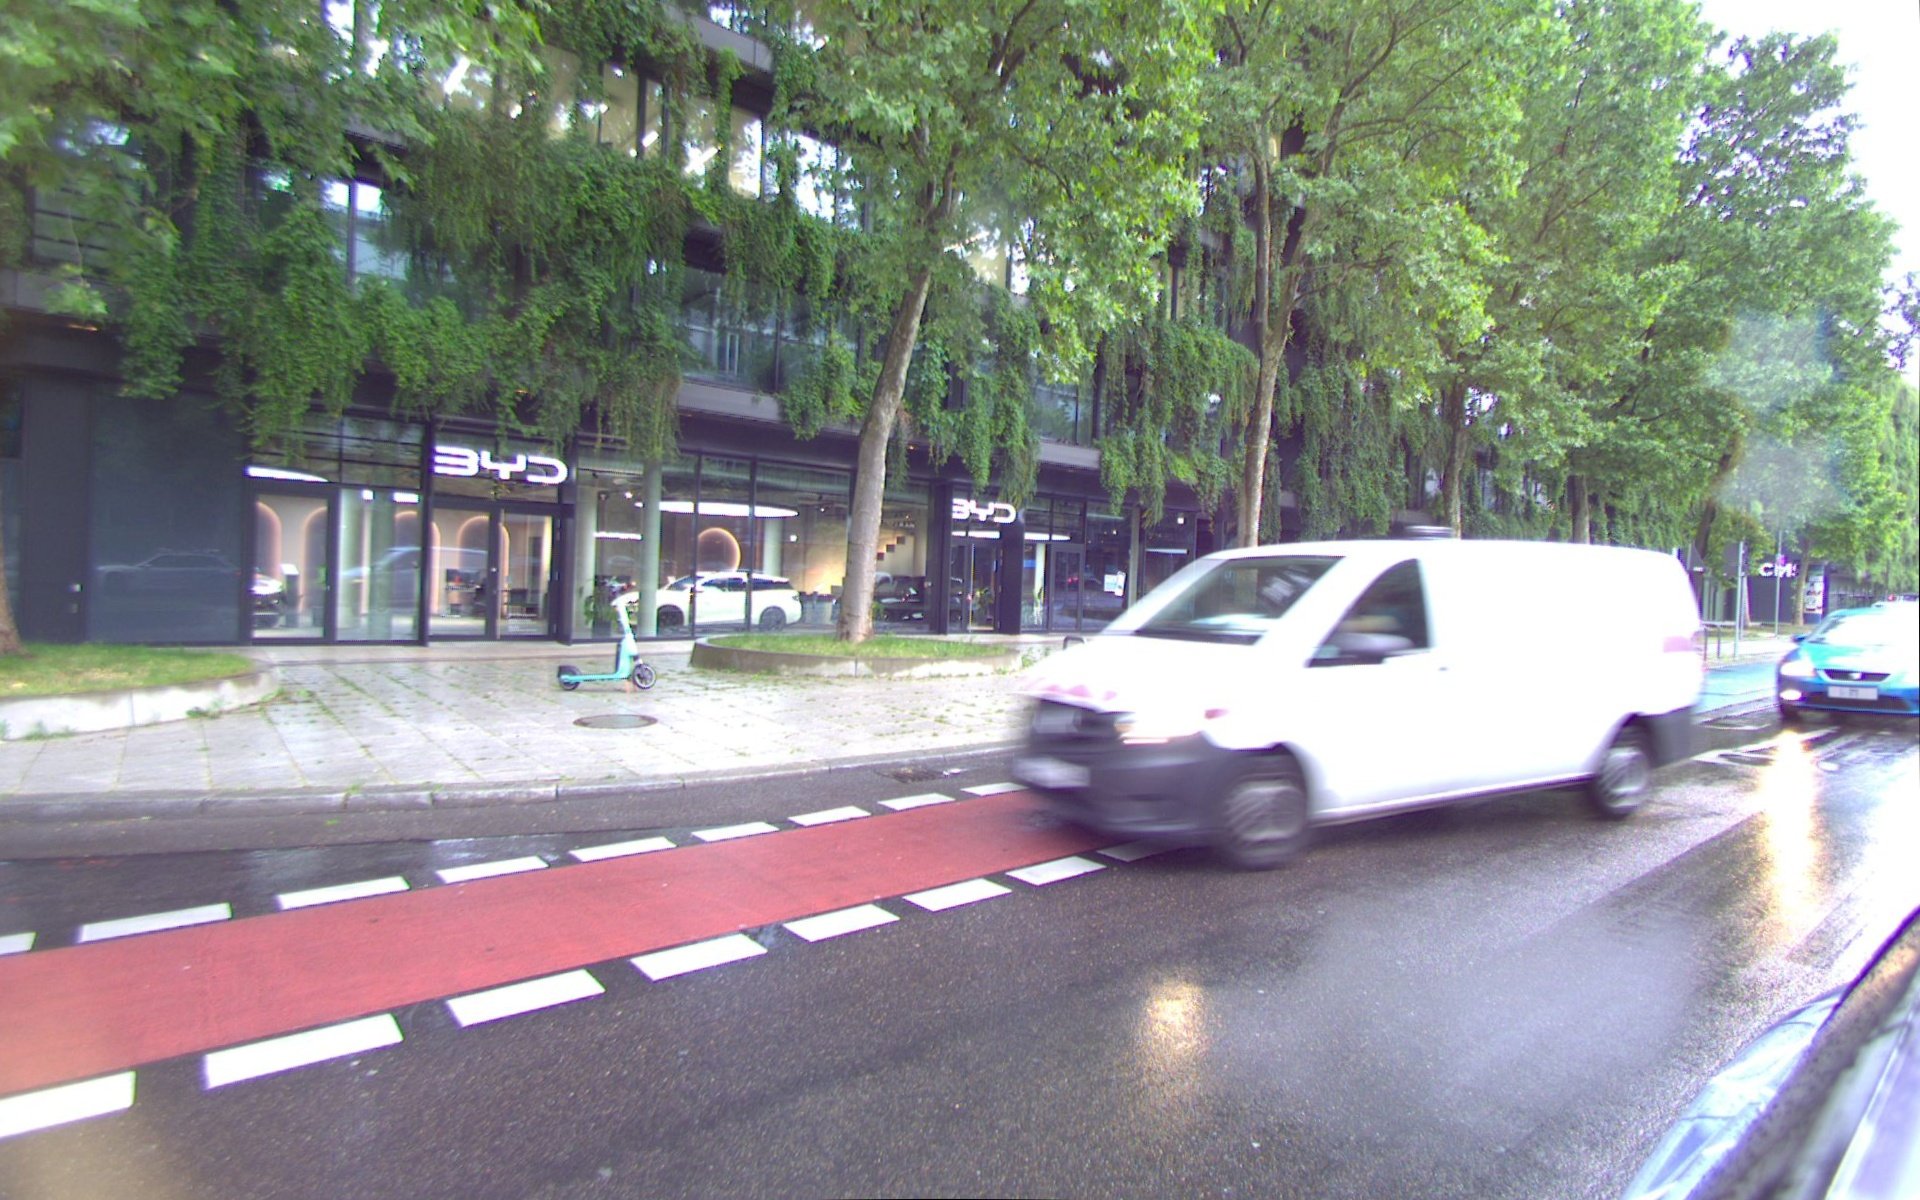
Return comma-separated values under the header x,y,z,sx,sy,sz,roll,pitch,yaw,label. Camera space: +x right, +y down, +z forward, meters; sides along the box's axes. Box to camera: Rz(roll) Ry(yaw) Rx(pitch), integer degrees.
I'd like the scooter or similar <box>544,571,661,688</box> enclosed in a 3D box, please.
x,y,z,sx,sy,sz,roll,pitch,yaw,label
-4.092,0.326,11.613,1.165,1.298,0.535,0,0,10,scooter or similar

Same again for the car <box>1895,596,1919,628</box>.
x,y,z,sx,sy,sz,roll,pitch,yaw,label
49.251,0.587,51.371,4.503,1.581,2.035,-1,1,-39,car

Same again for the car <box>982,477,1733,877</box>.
x,y,z,sx,sy,sz,roll,pitch,yaw,label
2.768,0.381,6.891,4.861,1.970,1.929,1,1,-25,car

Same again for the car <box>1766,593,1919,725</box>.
x,y,z,sx,sy,sz,roll,pitch,yaw,label
12.274,0.672,13.210,3.987,1.453,1.801,-1,2,-37,car

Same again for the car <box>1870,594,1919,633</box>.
x,y,z,sx,sy,sz,roll,pitch,yaw,label
44.547,0.594,47.691,4.519,1.757,1.931,-1,1,-41,car
